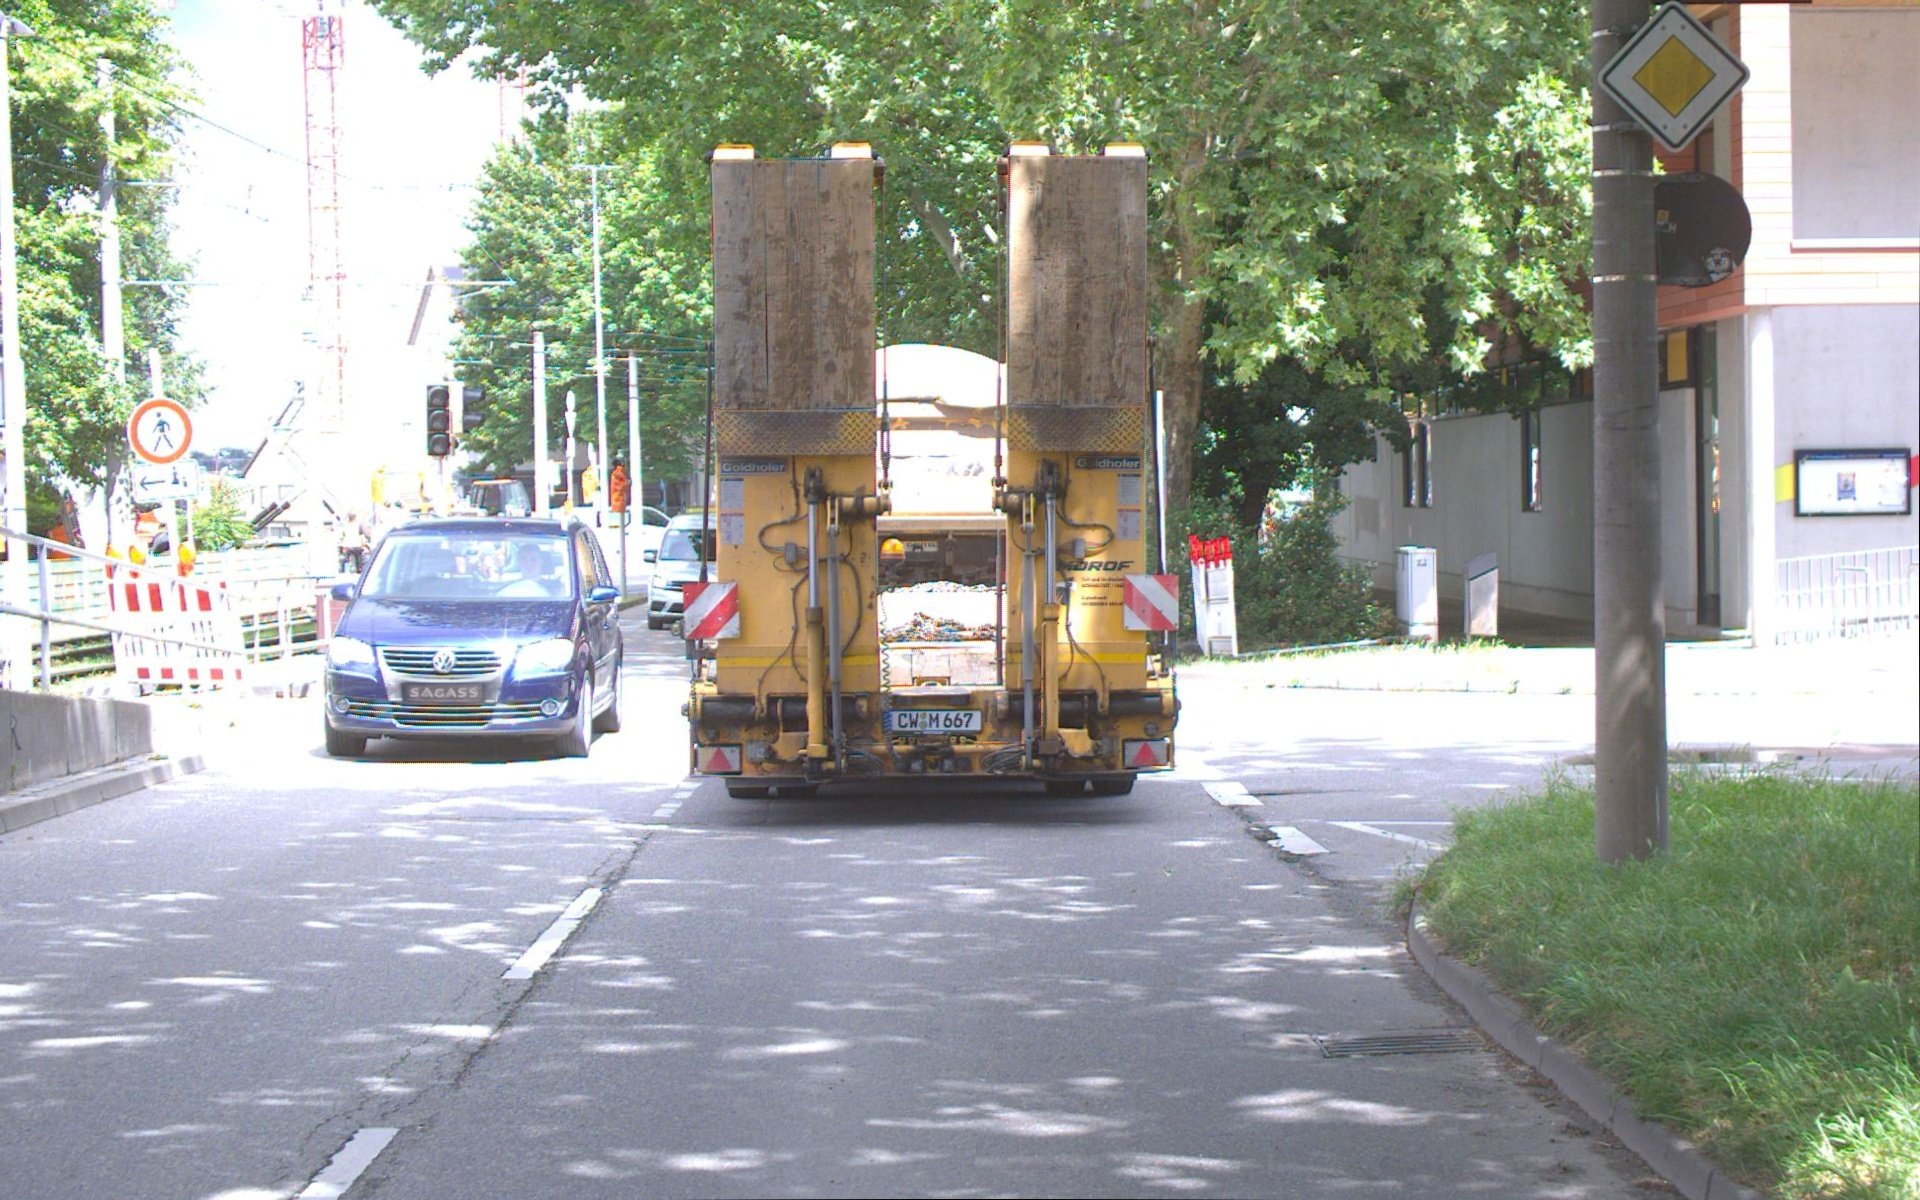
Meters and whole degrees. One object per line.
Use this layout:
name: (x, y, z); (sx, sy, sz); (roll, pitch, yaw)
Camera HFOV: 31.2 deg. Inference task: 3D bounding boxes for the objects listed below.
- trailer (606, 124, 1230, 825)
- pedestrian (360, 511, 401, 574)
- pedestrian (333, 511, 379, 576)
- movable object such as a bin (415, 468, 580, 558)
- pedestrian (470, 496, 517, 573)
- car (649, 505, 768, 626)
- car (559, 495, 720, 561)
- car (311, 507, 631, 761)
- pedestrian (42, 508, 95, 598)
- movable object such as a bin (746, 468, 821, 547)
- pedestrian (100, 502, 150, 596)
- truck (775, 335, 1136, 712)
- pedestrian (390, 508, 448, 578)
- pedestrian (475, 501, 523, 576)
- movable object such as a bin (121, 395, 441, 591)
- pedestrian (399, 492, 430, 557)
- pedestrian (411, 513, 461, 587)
trailer: (-0.110, -0.749, 22.963); (3.154, 3.540, 11.097); (0, 1, 1)
pedestrian: (-14.996, -1.492, 88.992); (0.885, 1.639, 0.837); (0, 1, -23)
pedestrian: (-15.208, -1.425, 86.541); (0.885, 1.639, 0.900); (0, 1, -31)
movable object such as a bin: (-13.786, -2.588, 102.486); (4.373, 2.620, 2.217); (1, 1, 26)
pedestrian: (-11.437, -1.603, 84.275); (0.885, 1.860, 0.837); (0, 1, -29)
car: (-3.964, -0.564, 54.814); (1.753, 1.834, 4.646); (0, 1, -2)
car: (-10.703, -2.401, 114.799); (5.088, 2.095, 1.977); (0, 1, -15)
car: (-3.373, 0.183, 24.394); (1.753, 1.627, 4.119); (1, 1, -1)
pedestrian: (-16.198, -0.861, 62.457); (0.732, 1.620, 0.867); (0, 1, 0)
movable object such as a bin: (-4.580, -2.407, 89.518); (1.399, 2.007, 2.555); (0, 1, 10)
pedestrian: (-15.299, -0.939, 63.004); (0.699, 1.712, 0.867); (0, 1, 0)
truck: (0.060, -0.717, 32.485); (2.989, 3.124, 7.888); (0, 1, 1)
pedestrian: (-13.338, -1.410, 84.730); (1.108, 1.709, 0.888); (-1, 2, -45)
pedestrian: (-11.657, -1.560, 86.921); (0.887, 1.860, 0.836); (1, 1, 28)
movable object such as a bin: (-19.391, -3.025, 97.973); (9.215, 5.396, 2.660); (1, 1, 26)
pedestrian: (-15.647, -2.169, 98.662); (0.834, 1.860, 0.888); (0, 1, -12)
pedestrian: (-12.608, -1.212, 82.750); (0.886, 1.754, 0.836); (1, 1, 20)
